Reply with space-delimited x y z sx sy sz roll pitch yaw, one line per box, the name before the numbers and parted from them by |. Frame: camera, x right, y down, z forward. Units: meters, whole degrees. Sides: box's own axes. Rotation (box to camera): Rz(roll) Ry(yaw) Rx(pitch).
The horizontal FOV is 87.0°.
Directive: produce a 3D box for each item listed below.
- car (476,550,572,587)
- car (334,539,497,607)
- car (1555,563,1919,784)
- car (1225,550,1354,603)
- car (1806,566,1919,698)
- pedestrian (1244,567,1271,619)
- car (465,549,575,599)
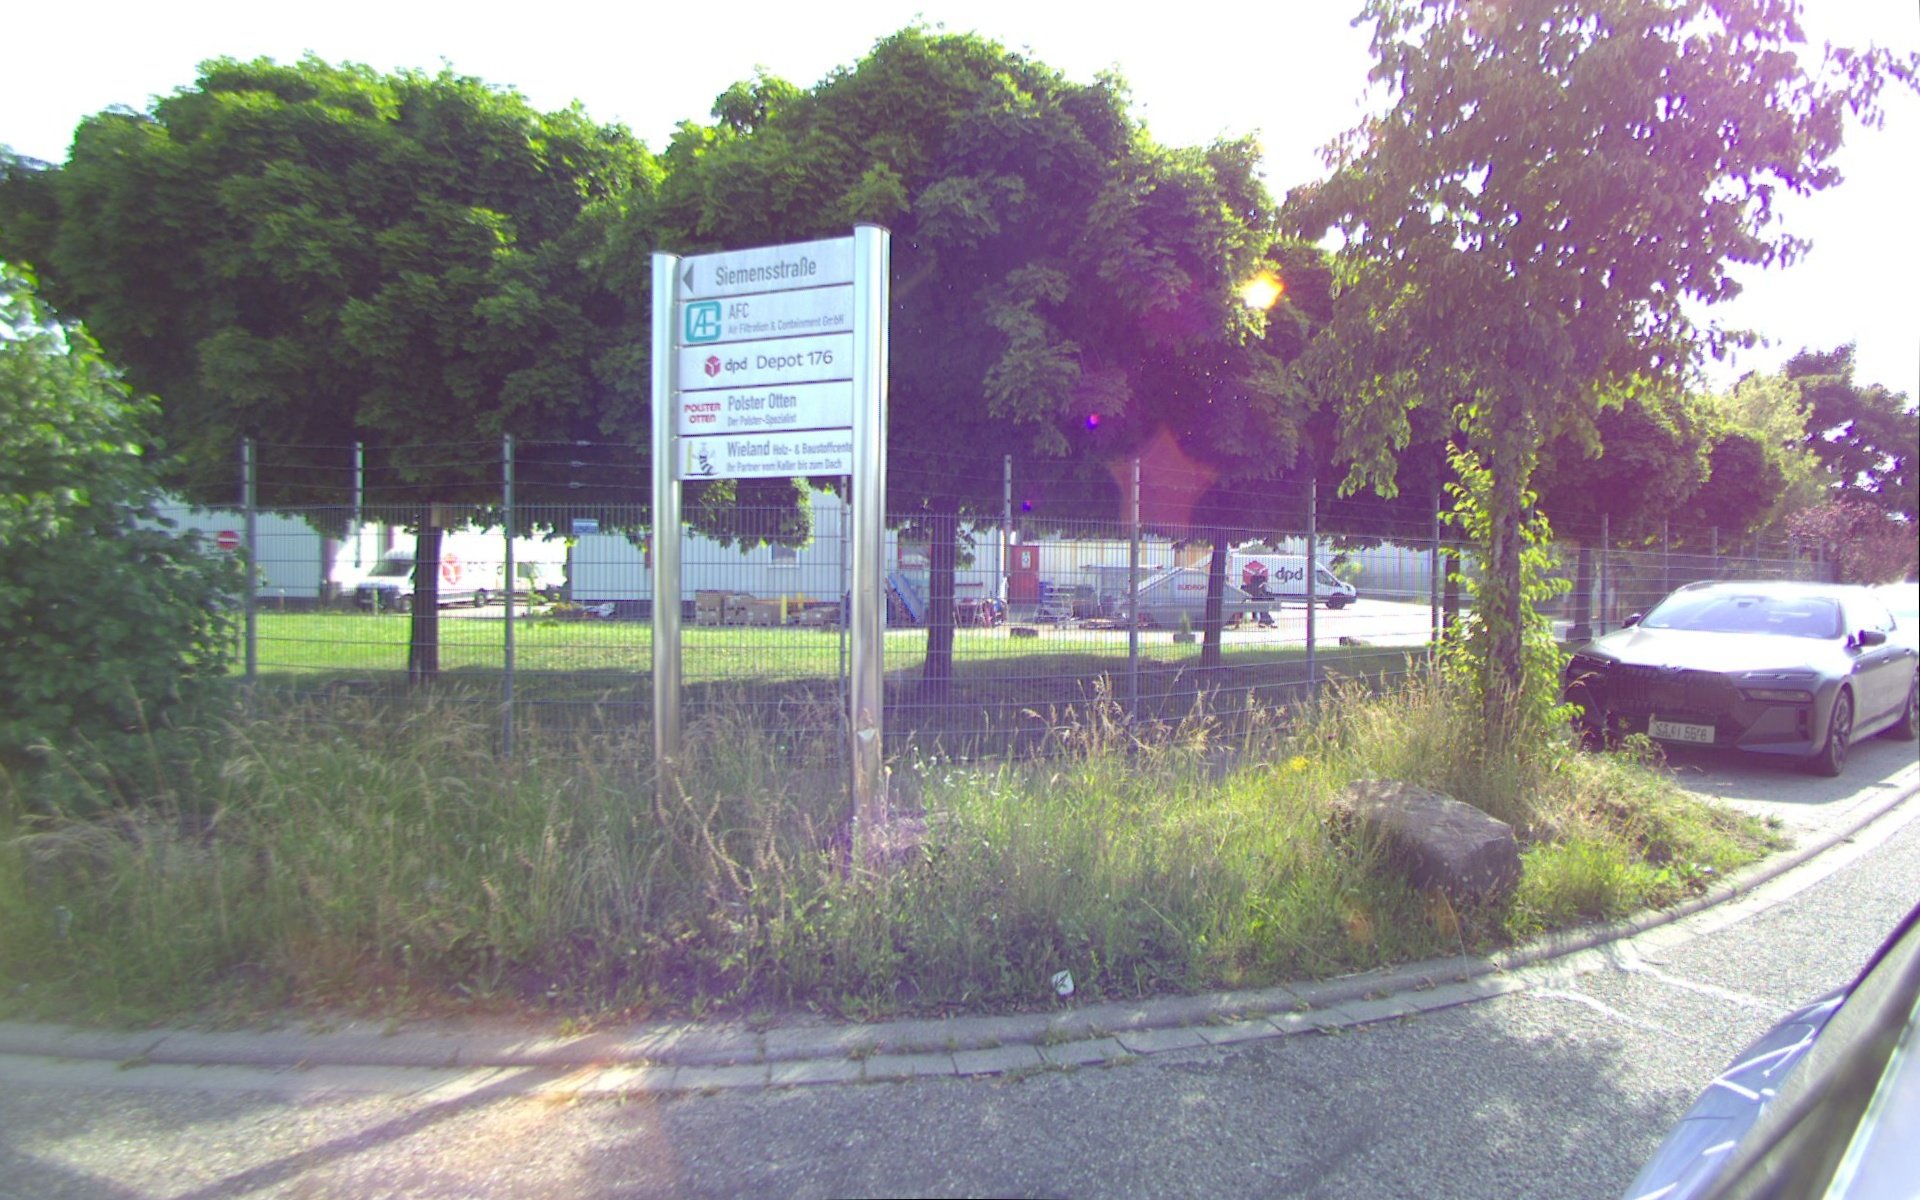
car | -24.239 -1.748 56.274 4.777 1.988 1.923 1 1 14
car | -22.052 -1.113 41.444 2.140 2.548 6.681 0 2 11
car | 7.819 0.457 9.724 5.025 1.593 1.886 -2 3 -38
car | 17.217 -1.246 53.218 6.175 2.682 2.206 0 1 11
car | 13.517 0.370 14.028 4.039 1.593 1.886 -2 4 -38
pedestrian | 10.244 -0.243 34.833 0.848 1.743 0.628 0 1 21
car | -21.392 -1.271 49.234 4.777 2.317 1.923 1 1 14
